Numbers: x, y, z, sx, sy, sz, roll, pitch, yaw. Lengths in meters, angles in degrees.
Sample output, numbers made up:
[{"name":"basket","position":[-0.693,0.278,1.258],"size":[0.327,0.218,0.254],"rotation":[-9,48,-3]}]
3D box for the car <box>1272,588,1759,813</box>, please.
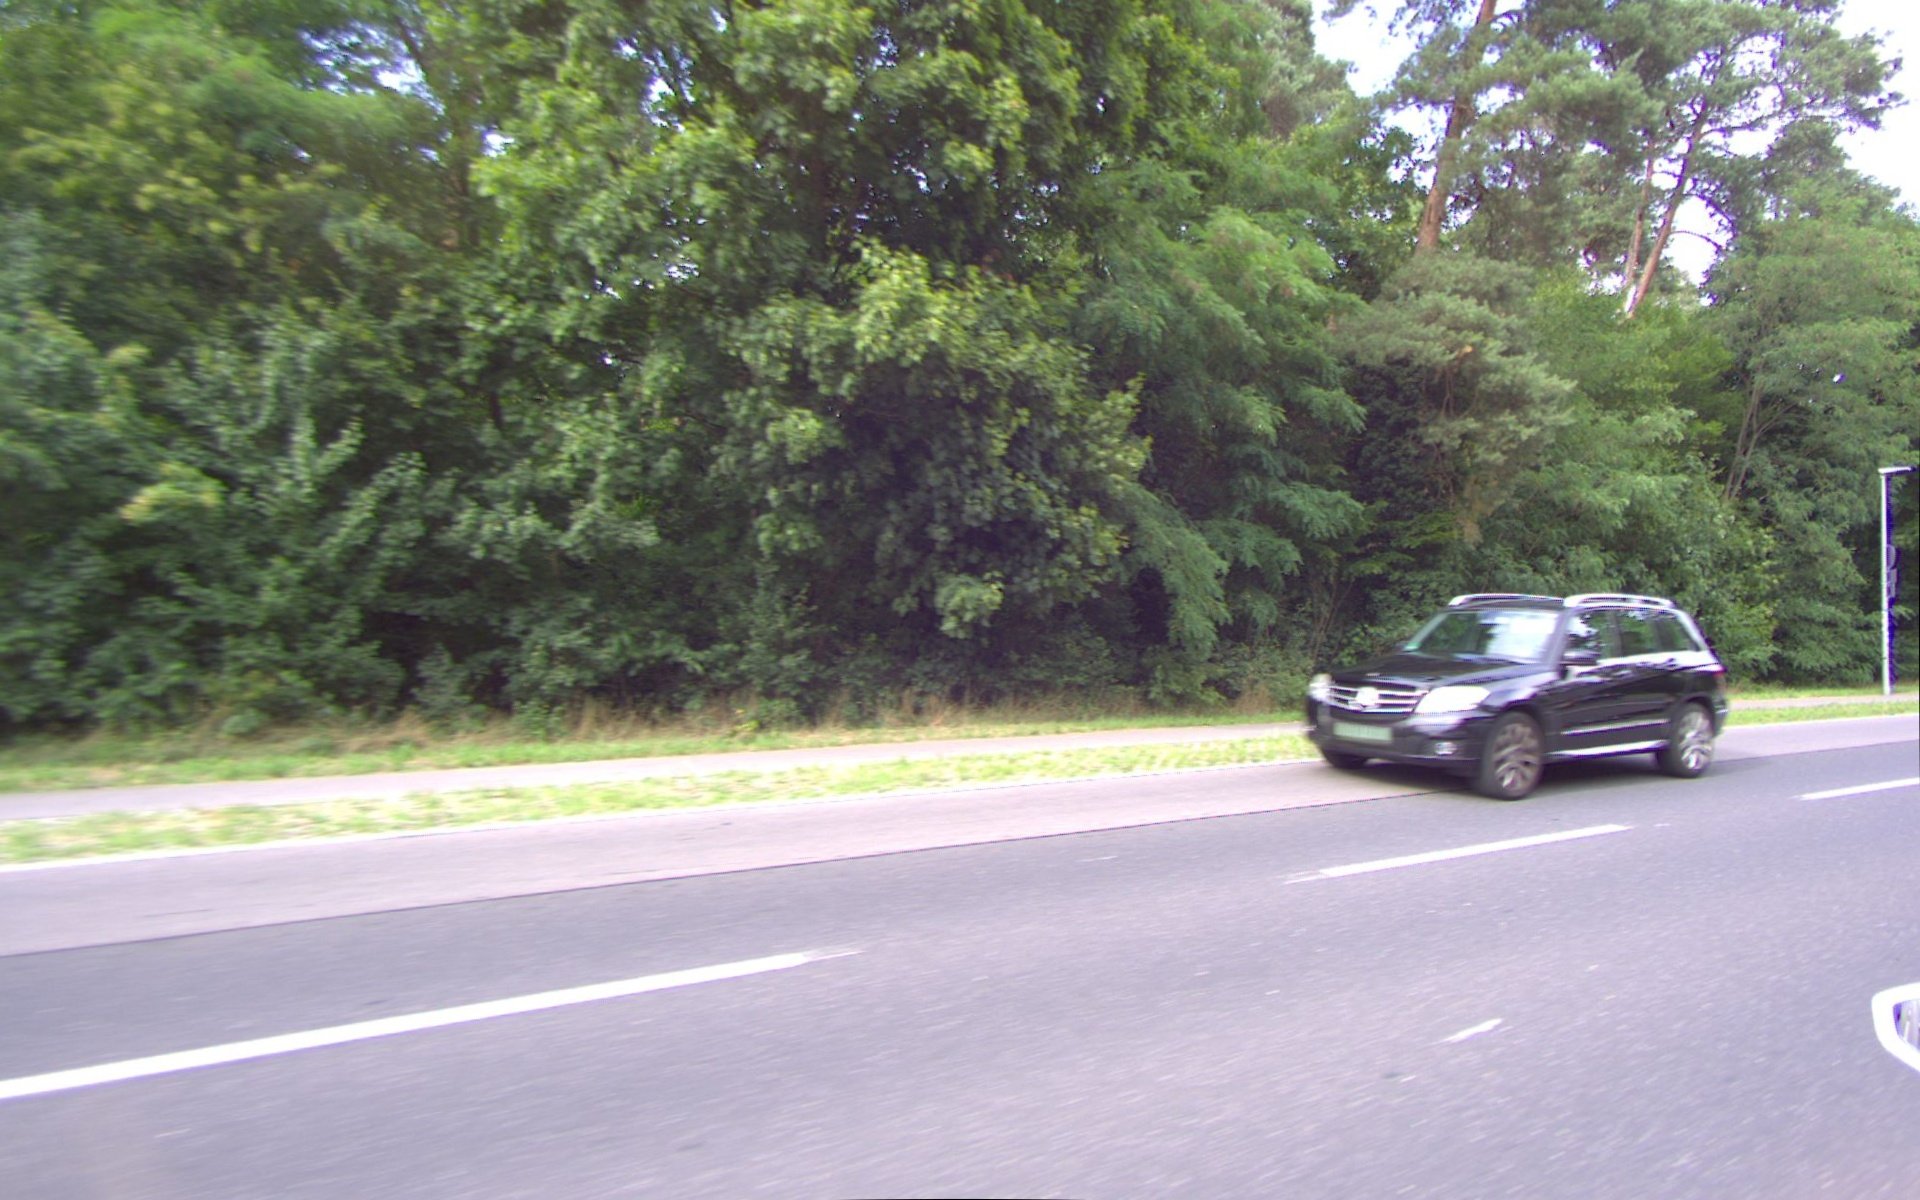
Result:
[{"name":"car","position":[5.241,0.786,9.379],"size":[4.415,1.677,1.915],"rotation":[1,0,-29]}]
